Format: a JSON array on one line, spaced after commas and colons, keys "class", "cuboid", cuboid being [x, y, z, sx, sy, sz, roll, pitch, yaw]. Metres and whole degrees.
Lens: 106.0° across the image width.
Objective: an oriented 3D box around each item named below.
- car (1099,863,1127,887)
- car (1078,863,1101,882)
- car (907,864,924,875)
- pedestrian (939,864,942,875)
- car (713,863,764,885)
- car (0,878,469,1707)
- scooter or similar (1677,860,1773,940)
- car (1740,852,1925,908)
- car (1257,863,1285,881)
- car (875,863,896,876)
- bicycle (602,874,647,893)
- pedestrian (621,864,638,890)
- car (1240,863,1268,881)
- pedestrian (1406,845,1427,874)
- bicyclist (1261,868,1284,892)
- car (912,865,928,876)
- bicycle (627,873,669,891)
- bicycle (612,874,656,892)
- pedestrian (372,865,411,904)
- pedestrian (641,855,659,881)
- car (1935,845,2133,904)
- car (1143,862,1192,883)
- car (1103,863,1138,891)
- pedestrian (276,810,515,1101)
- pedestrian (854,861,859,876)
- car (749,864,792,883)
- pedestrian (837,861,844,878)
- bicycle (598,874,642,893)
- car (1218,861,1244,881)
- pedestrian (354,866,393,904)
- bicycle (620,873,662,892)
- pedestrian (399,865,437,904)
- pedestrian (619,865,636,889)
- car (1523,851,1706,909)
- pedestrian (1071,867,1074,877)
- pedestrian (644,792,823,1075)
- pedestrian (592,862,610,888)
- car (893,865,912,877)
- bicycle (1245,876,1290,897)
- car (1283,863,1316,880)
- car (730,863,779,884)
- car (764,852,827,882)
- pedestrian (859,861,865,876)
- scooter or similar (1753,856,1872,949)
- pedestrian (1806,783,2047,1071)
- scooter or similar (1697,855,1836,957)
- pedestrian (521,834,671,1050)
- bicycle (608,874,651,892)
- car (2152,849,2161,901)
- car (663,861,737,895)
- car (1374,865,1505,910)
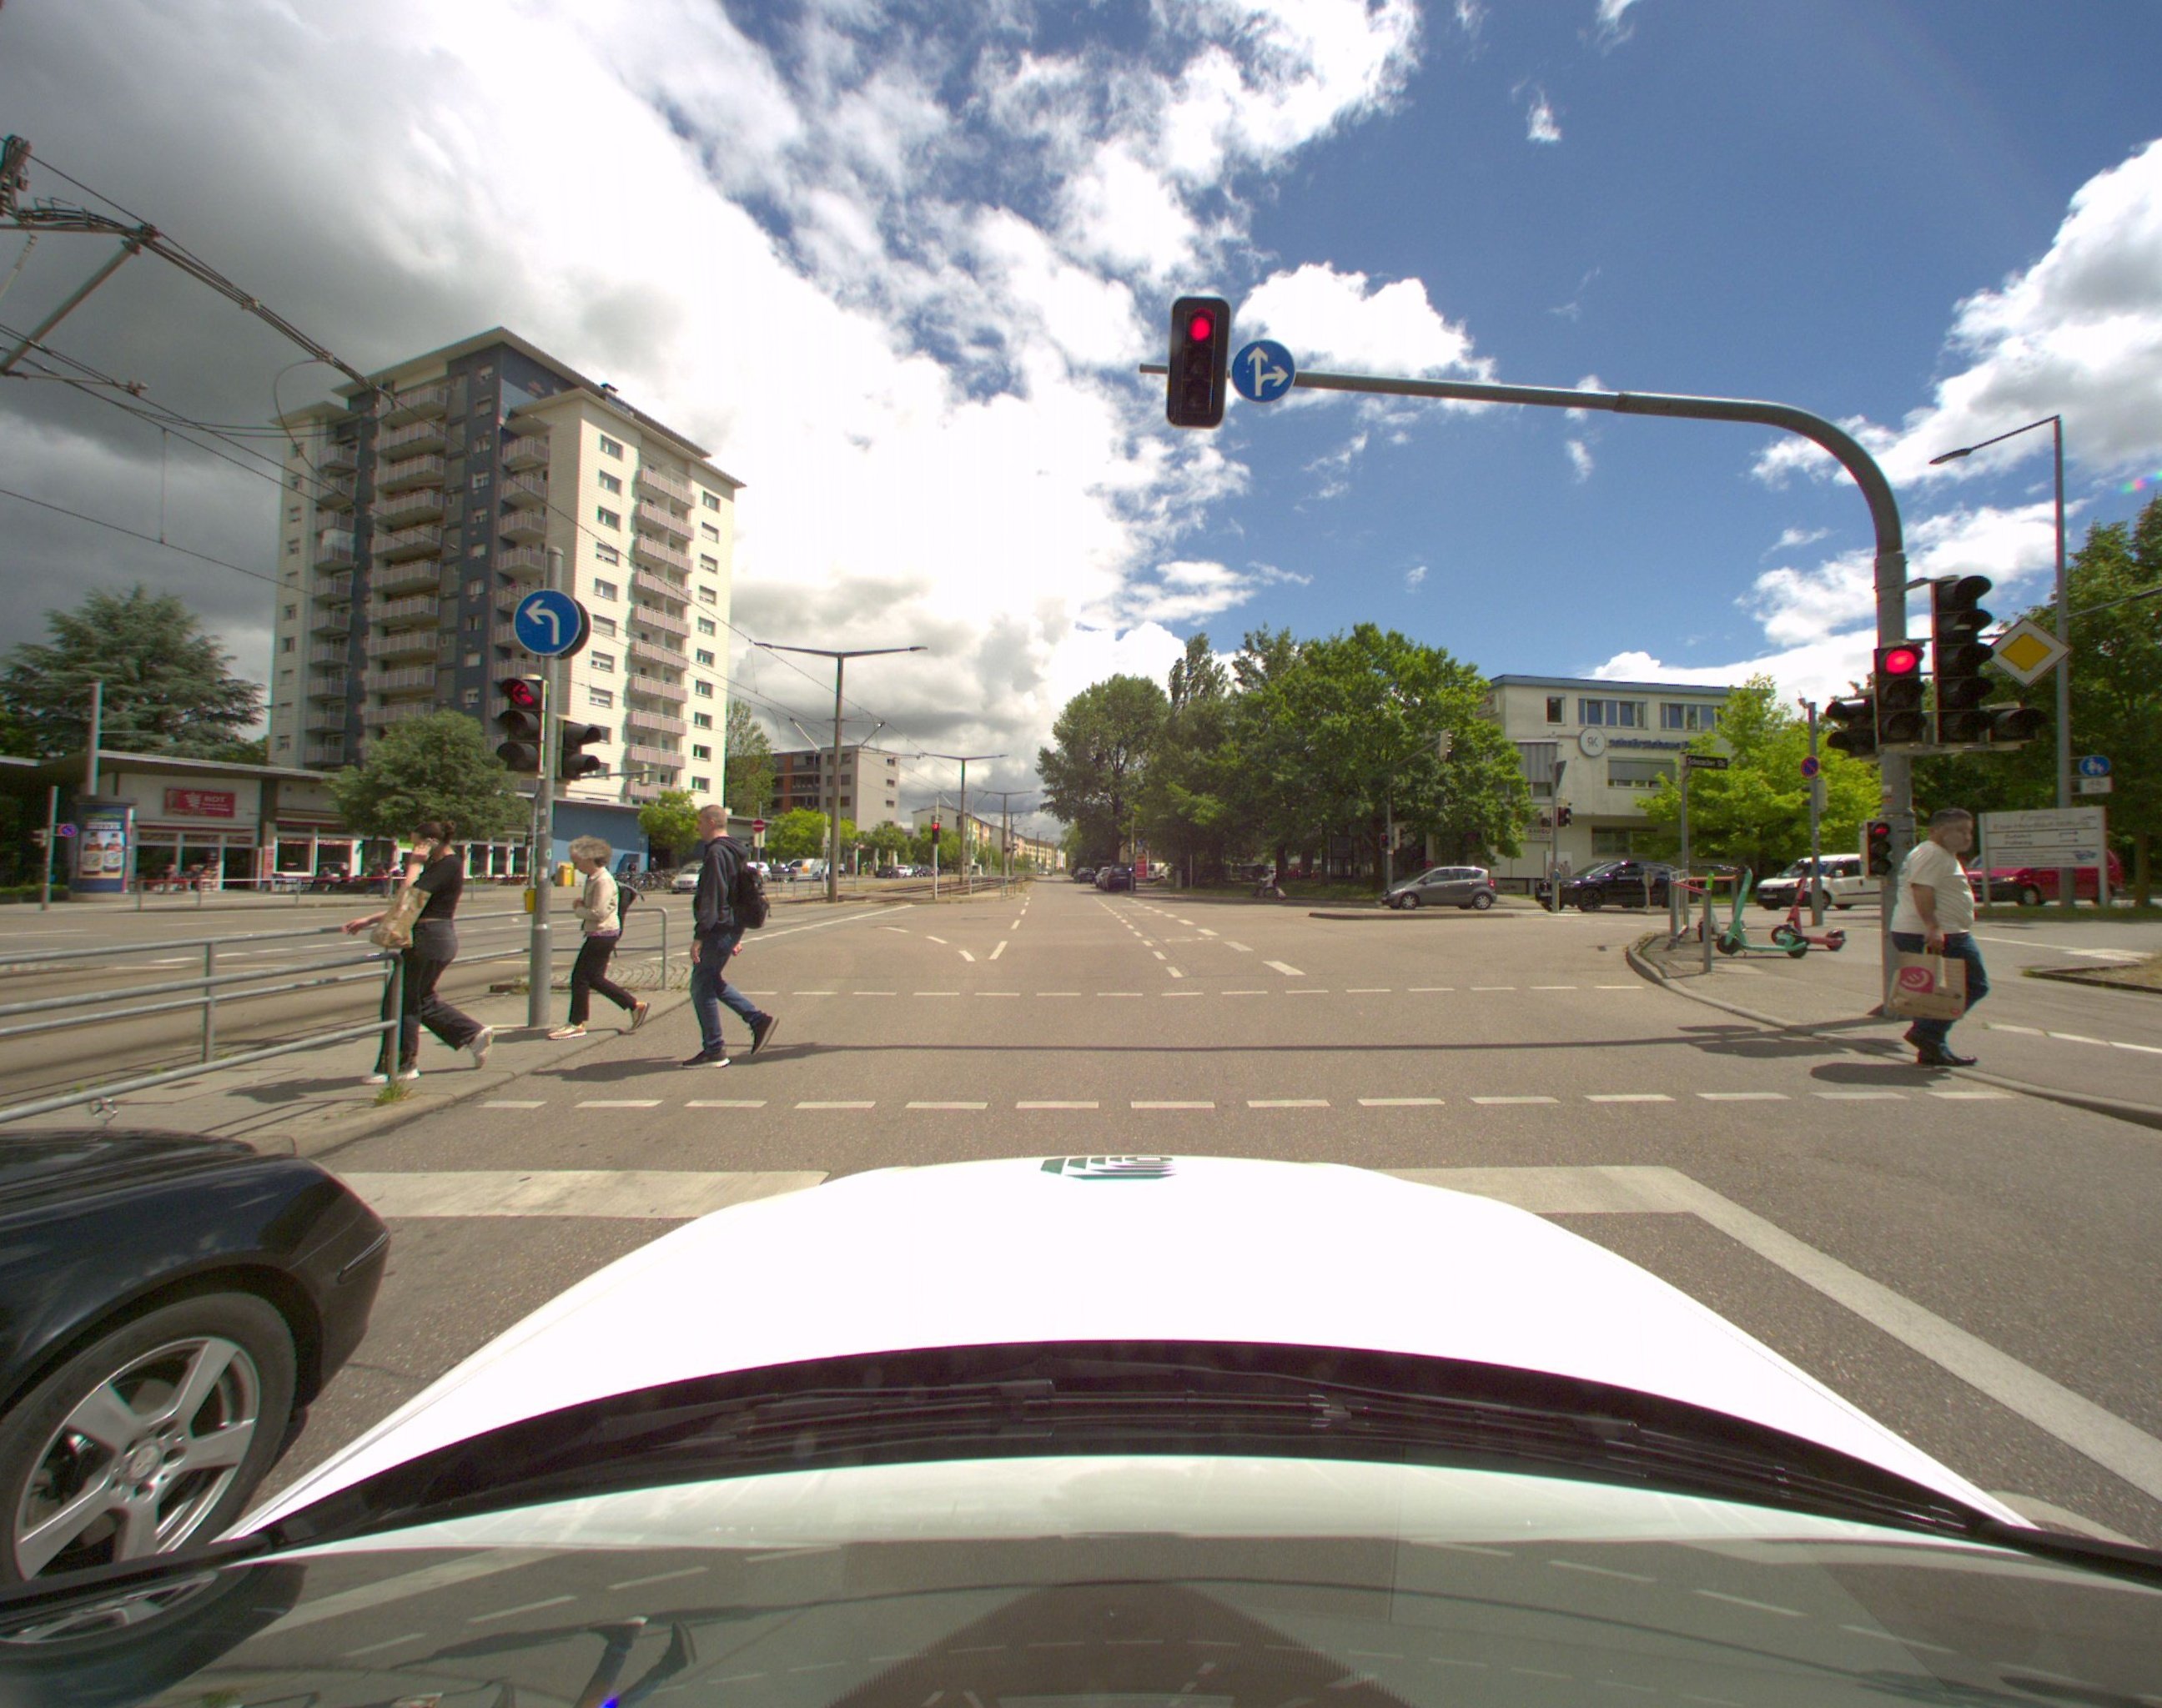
[{"class": "car", "cuboid": [2.324, 1.555, 59.343, 1.986, 1.684, 4.001, 0, -1, 2]}, {"class": "car", "cuboid": [0.801, 1.697, 74.617, 1.986, 1.684, 4.002, 0, 0, 2]}, {"class": "car", "cuboid": [-21.467, 2.031, 105.777, 1.758, 1.395, 3.993, 0, 0, -5]}, {"class": "pedestrian", "cuboid": [-21.322, 2.294, 123.656, 0.450, 1.637, 0.481, 0, -1, 6]}, {"class": "car", "cuboid": [-24.688, 1.416, 58.684, 4.165, 1.570, 1.973, -1, -1, 45]}, {"class": "car", "cuboid": [-2.777, 0.792, 0.185, 1.721, 1.461, 4.546, 0, 0, 2]}, {"class": "scooter or similar", "cuboid": [9.748, 0.686, 12.326, 1.360, 1.156, 0.540, 1, 0, -23]}, {"class": "car", "cuboid": [24.378, 0.815, 26.503, 4.555, 1.717, 1.995, 0, 0, -8]}, {"class": "car", "cuboid": [17.750, 1.647, 76.345, 1.626, 1.595, 3.998, 0, 0, -1]}, {"class": "car", "cuboid": [-22.016, 1.686, 91.790, 1.758, 1.395, 3.993, 0, 0, -5]}, {"class": "bicycle", "cuboid": [-23.427, 1.500, 41.797, 1.943, 0.935, 0.494, 0, -1, -5]}, {"class": "pedestrian", "cuboid": [-28.690, 1.433, 51.778, 0.768, 1.615, 0.695, 0, -1, -12]}, {"class": "car", "cuboid": [15.917, 1.672, 75.062, 1.626, 1.573, 4.030, 0, 0, -1]}, {"class": "pedestrian", "cuboid": [19.801, 0.326, 48.091, 0.769, 1.643, 0.904, 0, -1, -12]}, {"class": "bicyclist", "cuboid": [8.309, 1.119, 35.349, 0.798, 1.022, 0.628, 1, -1, -41]}, {"class": "car", "cuboid": [-21.821, 2.218, 110.351, 1.758, 1.395, 3.993, 0, 0, -5]}, {"class": "bicycle", "cuboid": [-23.371, 1.521, 43.933, 1.943, 0.935, 0.494, 0, -1, -5]}, {"class": "bicycle", "cuboid": [-23.476, 1.510, 42.779, 1.943, 0.935, 0.494, 0, -1, -5]}, {"class": "pedestrian", "cuboid": [-29.664, 1.301, 35.050, 0.935, 1.659, 1.106, -2, -1, 38]}, {"class": "pedestrian", "cuboid": [-32.272, 1.016, 60.963, 0.865, 1.917, 1.211, 0, 0, -10]}, {"class": "car", "cuboid": [31.821, 0.686, 27.268, 4.800, 1.864, 1.994, 0, -2, -8]}, {"class": "car", "cuboid": [7.759, 1.628, 73.298, 4.001, 1.823, 1.766, 0, -1, -21]}, {"class": "car", "cuboid": [2.483, 1.449, 51.889, 2.144, 1.684, 4.001, 0, -1, 2]}, {"class": "pedestrian", "cuboid": [-4.487, 0.614, 5.410, 0.933, 1.765, 0.769, 0, 0, -10]}, {"class": "pedestrian", "cuboid": [-25.148, 1.605, 91.208, 0.547, 1.716, 0.404, 0, -1, -8]}, {"class": "car", "cuboid": [-24.839, 1.554, 65.145, 1.800, 1.420, 4.166, 0, -1, -43]}, {"class": "pedestrian", "cuboid": [-24.018, 1.538, 81.309, 0.545, 1.716, 0.405, 0, -1, 1]}, {"class": "bicycle", "cuboid": [-23.390, 1.495, 41.331, 1.943, 0.935, 0.494, 0, -1, -5]}, {"class": "car", "cuboid": [13.706, 1.537, 74.576, 1.626, 1.811, 4.030, 0, 0, -1]}, {"class": "pedestrian", "cuboid": [-31.243, 1.353, 35.959, 0.957, 1.659, 1.002, -1, -1, 27]}, {"class": "bicycle", "cuboid": [-23.446, 1.516, 43.421, 1.943, 0.935, 0.494, 0, -1, -5]}, {"class": "pedestrian", "cuboid": [-29.577, 1.351, 36.330, 0.935, 1.659, 1.106, -2, -1, 38]}, {"class": "pedestrian", "cuboid": [-29.932, 1.515, 53.775, 0.767, 1.615, 0.695, 0, -1, -12]}, {"class": "car", "cuboid": [16.553, 0.786, 25.397, 4.551, 1.717, 1.996, 0, 0, -5]}, {"class": "pedestrian", "cuboid": [-1.352, 2.935, 135.919, 0.477, 1.637, 0.454, 0, -1, 1]}, {"class": "pedestrian", "cuboid": [-2.544, 0.545, 6.079, 0.963, 1.942, 0.896, 0, 0, -3]}, {"class": "pedestrian", "cuboid": [-30.082, 1.303, 51.042, 0.767, 1.615, 0.695, 0, -1, -11]}, {"class": "car", "cuboid": [-21.679, 2.056, 99.185, 1.758, 1.395, 3.993, 0, 0, -5]}, {"class": "bicycle", "cuboid": [8.124, 1.398, 35.457, 0.798, 0.819, 1.786, 1, -1, -41]}, {"class": "car", "cuboid": [20.561, 1.628, 76.686, 1.728, 1.595, 3.992, 0, 0, -5]}, {"class": "car", "cuboid": [-24.863, 1.438, 61.944, 4.165, 1.538, 1.973, -1, -1, 45]}, {"class": "car", "cuboid": [-24.694, 1.083, 70.210, 2.848, 2.478, 6.641, 0, -1, -42]}, {"class": "pedestrian", "cuboid": [-24.560, 1.645, 91.294, 0.547, 1.716, 0.667, 0, -1, -8]}, {"class": "scooter or similar", "cuboid": [10.233, 0.674, 11.413, 1.225, 1.240, 0.555, 2, 0, -7]}, {"class": "pedestrian", "cuboid": [5.657, 0.457, 5.501, 0.866, 1.808, 0.741, 0, 0, -2]}, {"class": "scooter or similar", "cuboid": [8.847, 0.654, 10.537, 1.336, 1.277, 0.463, 0, 0, 8]}, {"class": "pedestrian", "cuboid": [-4.075, 0.686, 6.938, 0.957, 1.674, 0.864, -1, -1, -23]}, {"class": "bicycle", "cuboid": [-23.452, 1.505, 42.303, 1.943, 0.935, 0.494, 0, -1, -5]}, {"class": "car", "cuboid": [33.112, 0.530, 22.974, 3.985, 1.487, 1.753, -1, -3, -9]}, {"class": "car", "cuboid": [-19.816, 1.215, 42.577, 1.930, 1.693, 3.874, 0, 0, 2]}, {"class": "car", "cuboid": [12.930, 1.177, 29.582, 3.892, 1.556, 2.001, 0, 0, 2]}]
